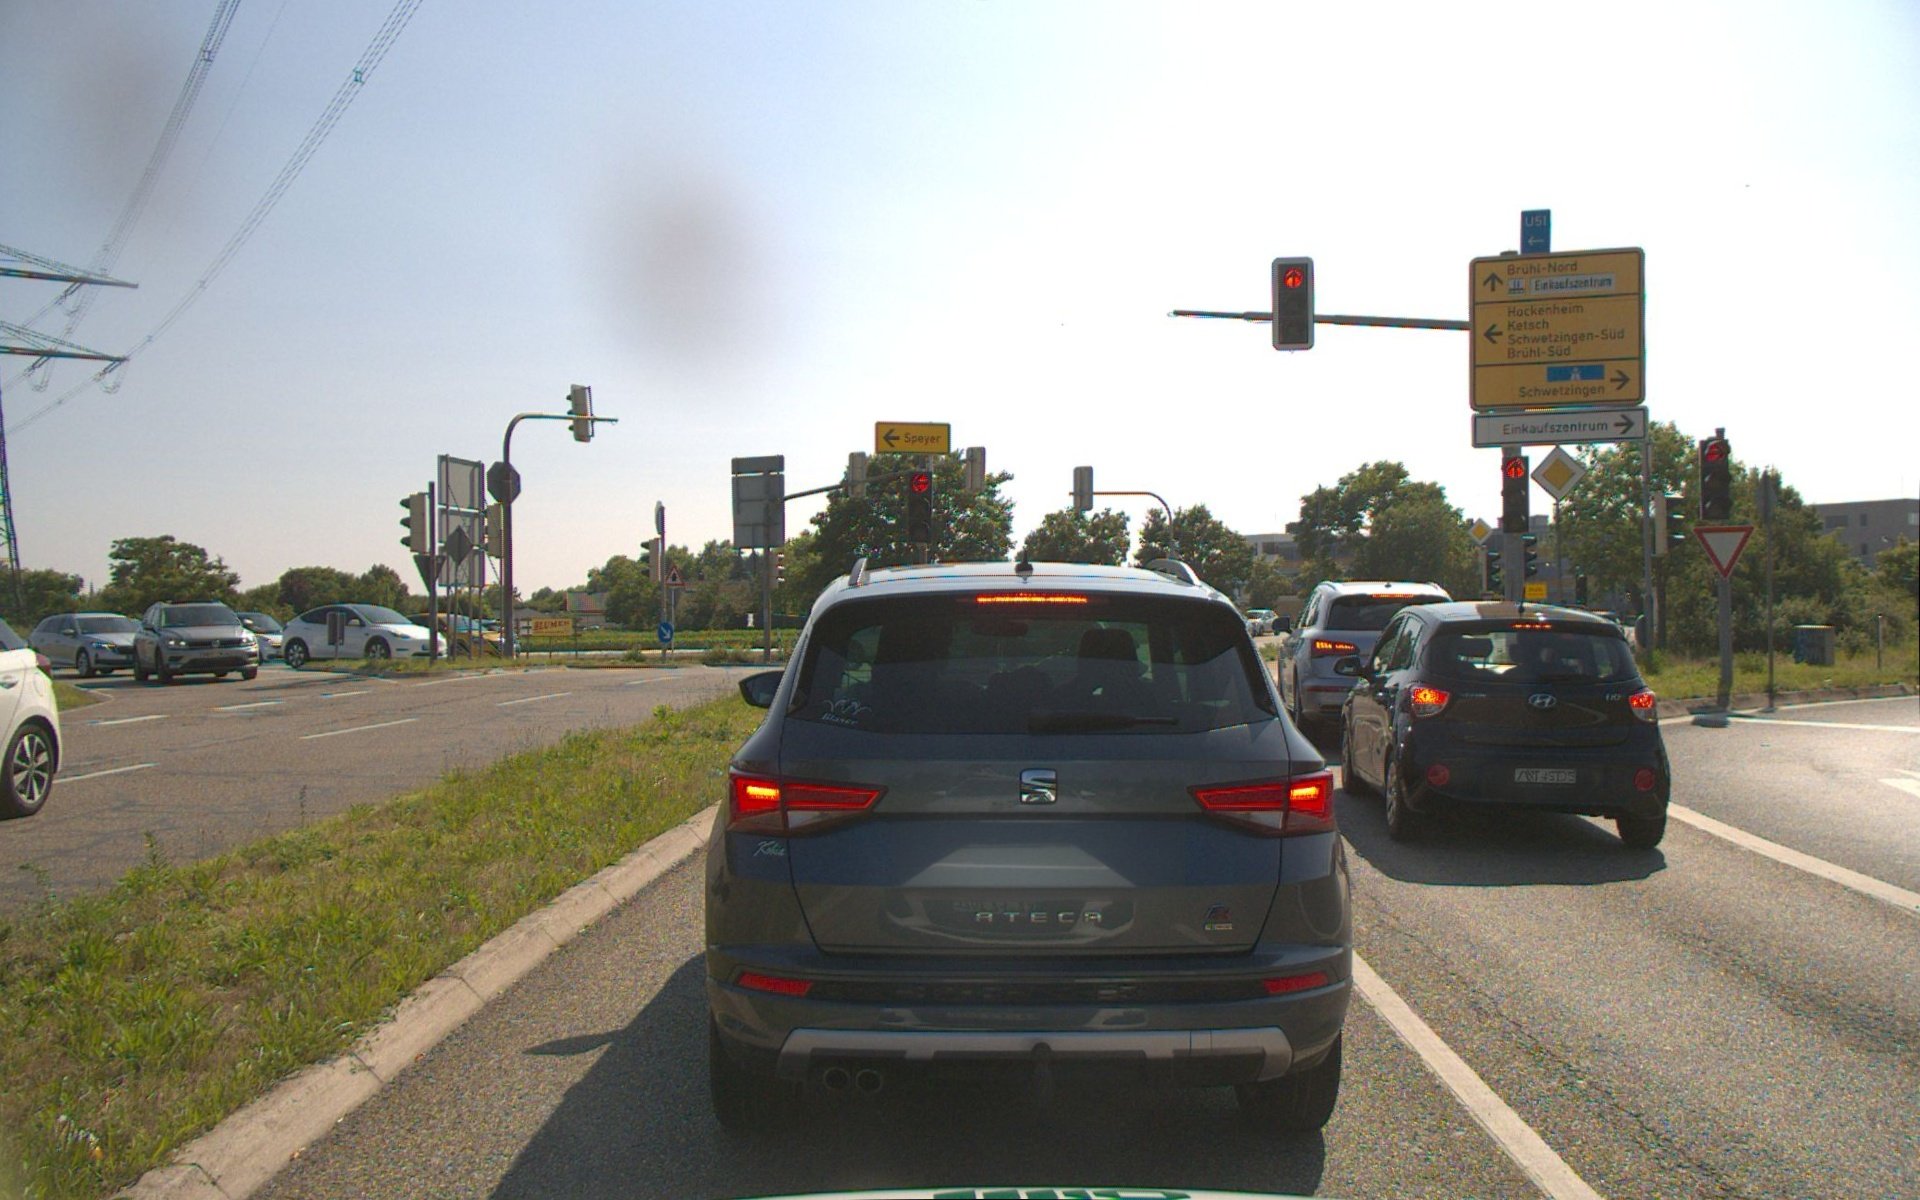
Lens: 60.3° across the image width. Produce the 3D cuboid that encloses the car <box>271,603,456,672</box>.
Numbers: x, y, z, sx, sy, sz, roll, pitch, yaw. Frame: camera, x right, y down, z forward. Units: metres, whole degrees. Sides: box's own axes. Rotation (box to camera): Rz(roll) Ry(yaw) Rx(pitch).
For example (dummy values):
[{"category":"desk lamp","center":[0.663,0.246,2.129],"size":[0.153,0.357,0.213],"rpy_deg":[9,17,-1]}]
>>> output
[{"category":"car","center":[-15.303,0.944,42.394],"size":[4.653,1.680,1.818],"rpy_deg":[-1,-1,27]}]

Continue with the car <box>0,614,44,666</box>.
[{"category":"car","center":[-32.666,1.336,55.173],"size":[3.910,1.680,1.818],"rpy_deg":[-1,0,27]}]

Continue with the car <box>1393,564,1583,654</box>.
[{"category":"car","center":[12.179,0.223,38.185],"size":[3.930,1.987,1.694],"rpy_deg":[-1,-1,28]}]

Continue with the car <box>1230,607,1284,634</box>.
[{"category":"car","center":[17.076,1.185,95.041],"size":[1.688,1.524,3.757],"rpy_deg":[1,0,34]}]

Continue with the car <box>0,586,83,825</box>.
[{"category":"car","center":[-6.788,0.655,9.349],"size":[1.683,1.490,3.910],"rpy_deg":[0,0,-2]}]

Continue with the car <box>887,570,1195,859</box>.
[{"category":"car","center":[0.465,0.657,11.139],"size":[1.706,1.596,3.624],"rpy_deg":[1,0,0]}]

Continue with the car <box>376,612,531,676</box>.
[{"category":"car","center":[-13.882,1.179,45.323],"size":[3.910,1.680,1.818],"rpy_deg":[-1,0,27]}]

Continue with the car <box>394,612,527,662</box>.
[{"category":"car","center":[-15.987,1.185,52.951],"size":[3.789,1.545,1.807],"rpy_deg":[-1,0,23]}]

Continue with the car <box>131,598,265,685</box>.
[{"category":"car","center":[-15.766,0.819,34.136],"size":[1.800,1.680,3.949],"rpy_deg":[0,0,-36]}]

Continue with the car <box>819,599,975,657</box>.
[{"category":"car","center":[-1.748,0.775,45.725],"size":[3.944,1.545,1.806],"rpy_deg":[-1,0,25]}]

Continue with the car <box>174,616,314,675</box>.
[{"category":"car","center":[-21.465,1.335,49.569],"size":[3.910,1.680,1.818],"rpy_deg":[-1,0,27]}]

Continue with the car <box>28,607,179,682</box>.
[{"category":"car","center":[-20.397,1.030,39.323],"size":[3.924,1.680,1.811],"rpy_deg":[-1,-1,39]}]

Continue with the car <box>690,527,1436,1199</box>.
[{"category":"car","center":[0.219,0.656,5.649],"size":[1.706,1.596,3.623],"rpy_deg":[1,0,-1]}]

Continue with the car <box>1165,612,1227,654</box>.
[{"category":"car","center":[10.015,1.371,69.989],"size":[1.838,1.702,3.770],"rpy_deg":[1,0,20]}]

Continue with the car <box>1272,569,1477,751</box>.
[{"category":"car","center":[4.294,0.579,17.615],"size":[1.598,1.706,3.752],"rpy_deg":[1,0,6]}]

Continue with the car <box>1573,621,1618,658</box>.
[{"category":"car","center":[31.599,1.945,82.239],"size":[1.839,1.702,3.767],"rpy_deg":[1,0,24]}]

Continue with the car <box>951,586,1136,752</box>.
[{"category":"car","center":[0.919,0.653,17.267],"size":[1.705,1.510,3.626],"rpy_deg":[1,0,4]}]

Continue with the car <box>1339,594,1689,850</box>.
[{"category":"car","center":[3.628,0.711,11.375],"size":[1.598,1.473,3.297],"rpy_deg":[1,0,6]}]
